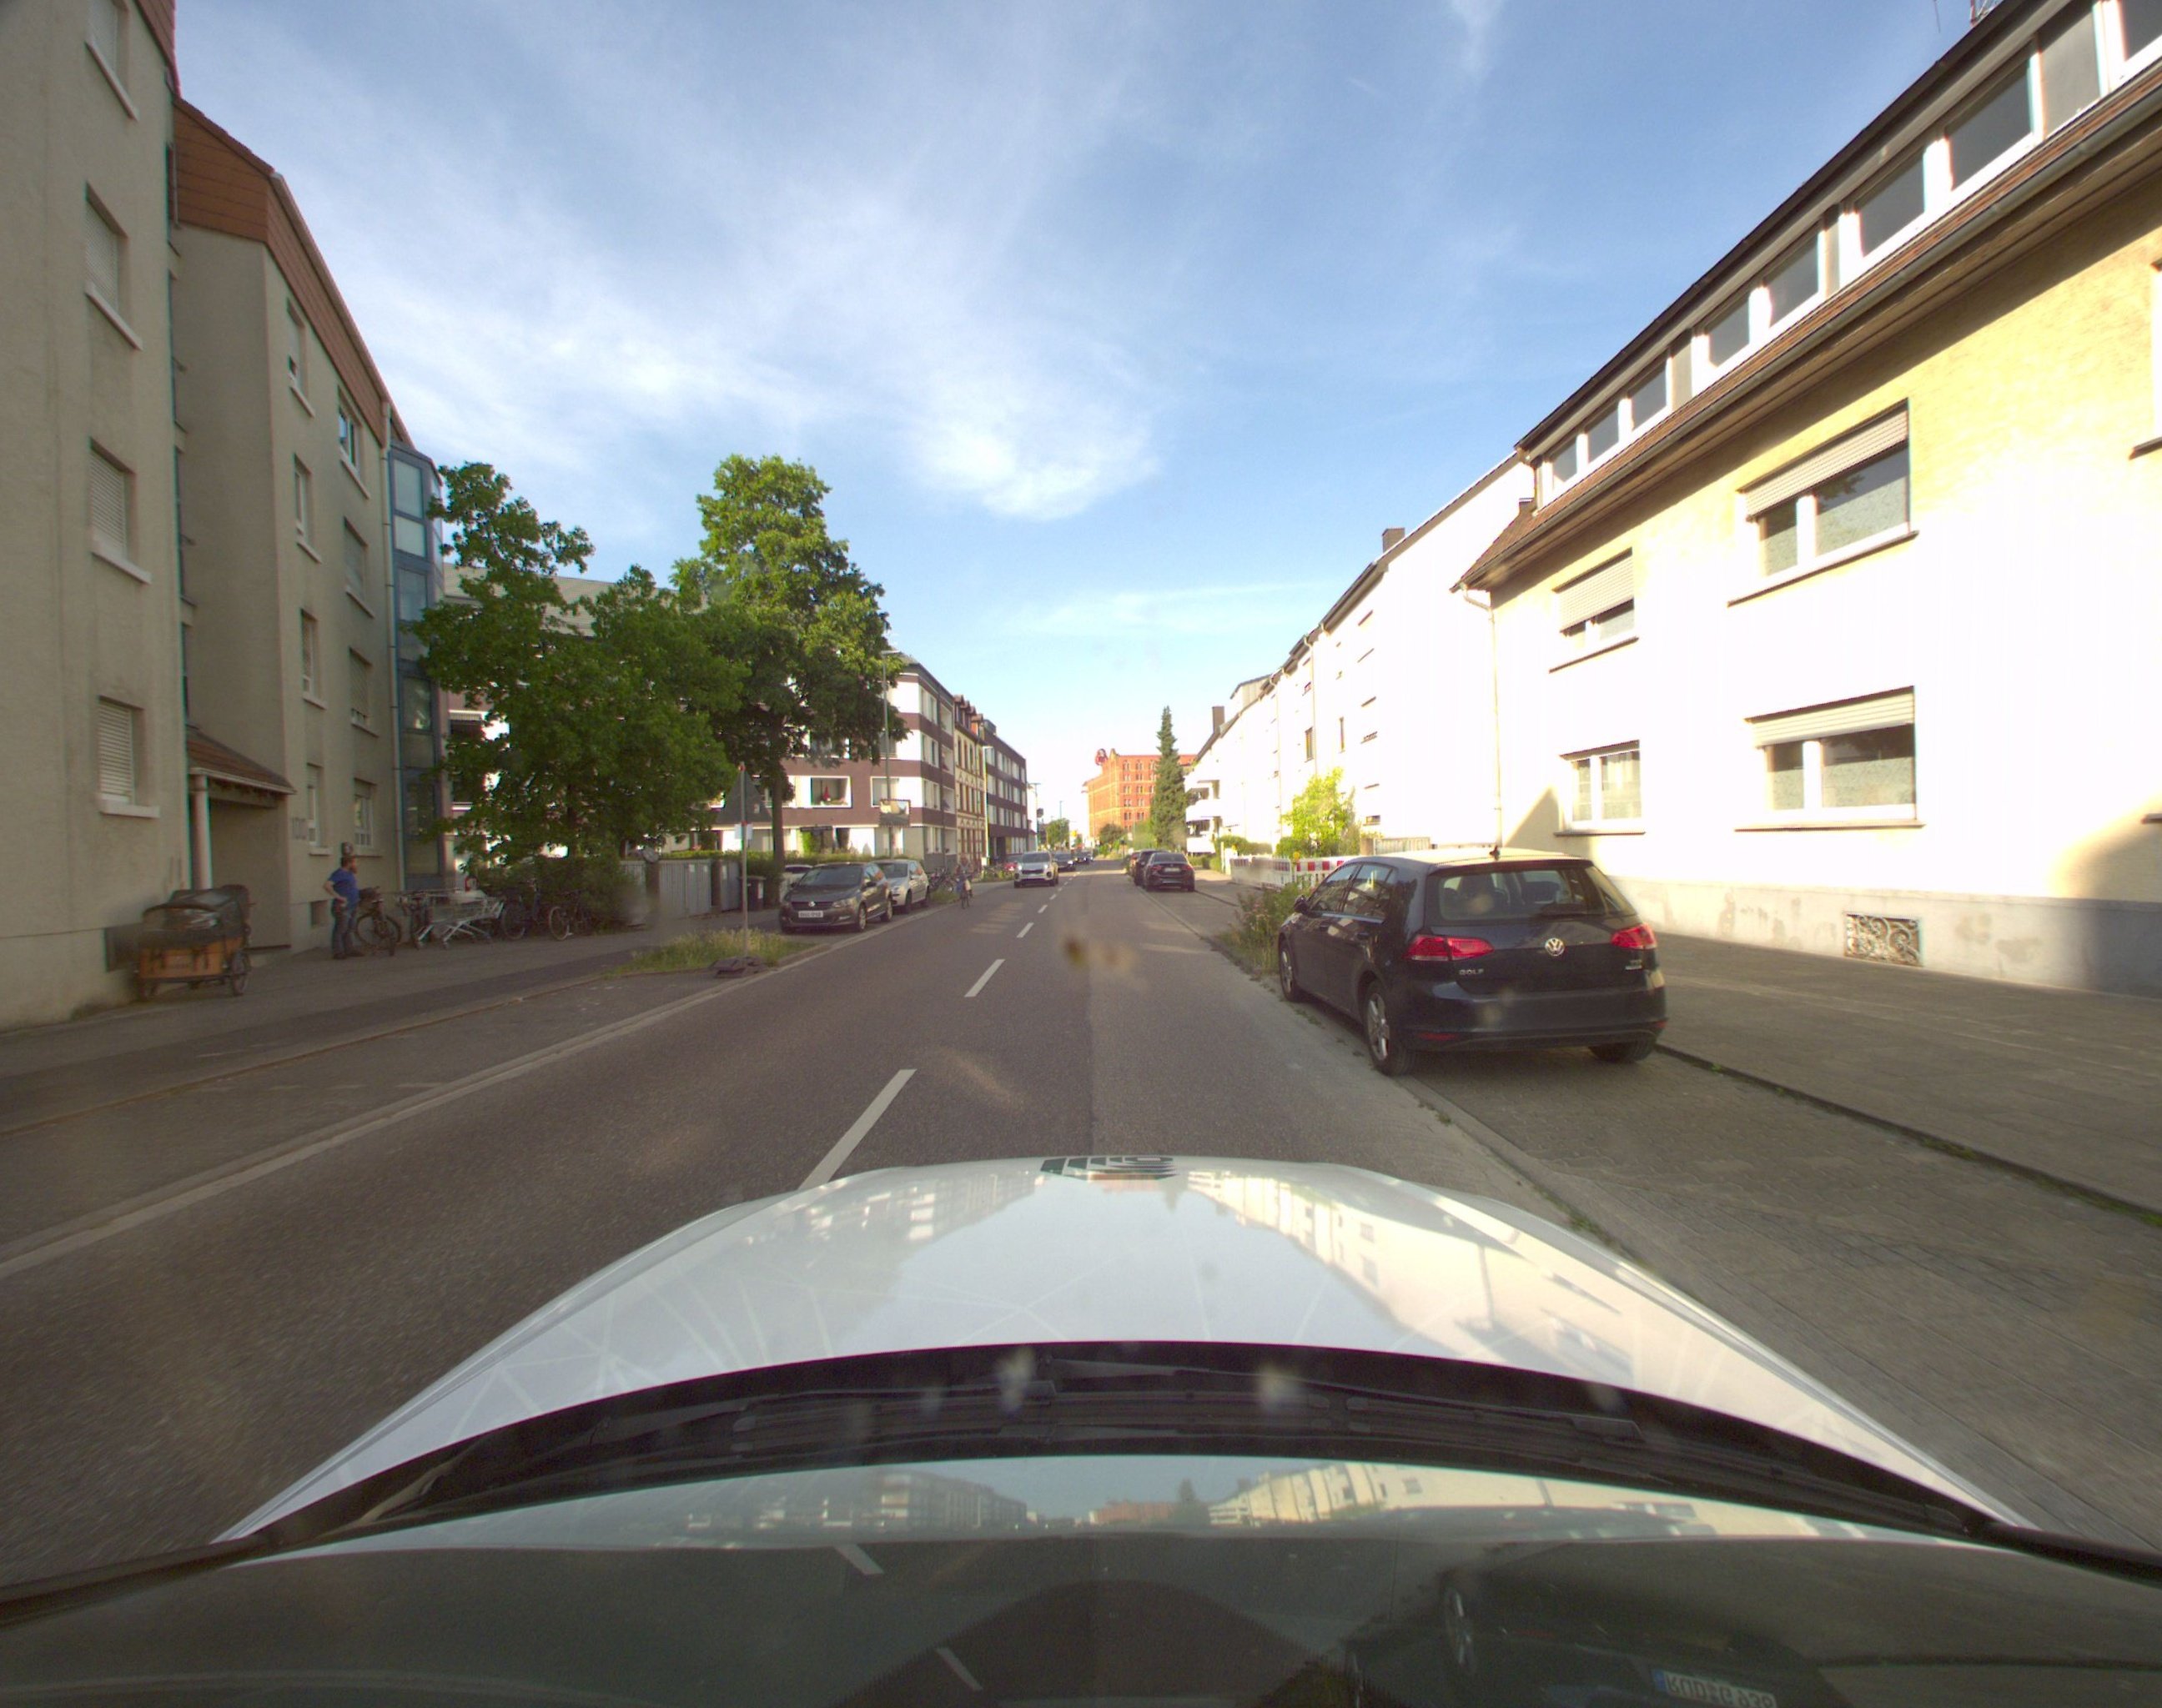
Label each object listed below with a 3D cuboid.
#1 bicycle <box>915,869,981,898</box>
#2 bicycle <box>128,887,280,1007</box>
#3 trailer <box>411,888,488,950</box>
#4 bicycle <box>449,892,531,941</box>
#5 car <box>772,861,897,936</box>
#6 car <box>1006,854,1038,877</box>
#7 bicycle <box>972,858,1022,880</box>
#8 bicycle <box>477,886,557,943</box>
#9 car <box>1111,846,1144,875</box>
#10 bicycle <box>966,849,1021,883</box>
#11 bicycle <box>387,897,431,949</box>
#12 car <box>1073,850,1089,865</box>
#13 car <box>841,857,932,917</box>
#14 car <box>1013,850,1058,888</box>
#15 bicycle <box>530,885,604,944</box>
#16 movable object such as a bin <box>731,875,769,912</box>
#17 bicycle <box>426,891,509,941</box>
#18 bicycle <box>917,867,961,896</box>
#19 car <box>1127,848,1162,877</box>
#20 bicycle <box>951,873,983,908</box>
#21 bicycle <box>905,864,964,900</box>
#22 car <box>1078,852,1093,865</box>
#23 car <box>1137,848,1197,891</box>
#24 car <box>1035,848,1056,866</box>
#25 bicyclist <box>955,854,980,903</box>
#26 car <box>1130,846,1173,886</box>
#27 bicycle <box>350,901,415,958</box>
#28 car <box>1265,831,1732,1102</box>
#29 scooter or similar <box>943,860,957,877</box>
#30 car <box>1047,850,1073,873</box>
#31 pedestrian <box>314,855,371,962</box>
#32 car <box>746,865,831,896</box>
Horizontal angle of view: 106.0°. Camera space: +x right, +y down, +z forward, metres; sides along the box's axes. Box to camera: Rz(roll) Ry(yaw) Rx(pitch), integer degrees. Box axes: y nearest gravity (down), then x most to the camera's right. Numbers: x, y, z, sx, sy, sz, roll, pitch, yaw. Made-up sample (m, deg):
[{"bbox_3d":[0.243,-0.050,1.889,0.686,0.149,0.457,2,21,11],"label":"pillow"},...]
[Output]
[{"bbox_3d":[-4.970,1.101,30.563,2.336,0.970,0.707,-2,0,-5],"label":"bicycle"},{"bbox_3d":[-10.354,1.048,9.677,0.893,1.249,1.199,-2,0,-31],"label":"bicycle"},{"bbox_3d":[-11.435,1.165,14.775,0.579,1.056,0.913,-2,0,16],"label":"trailer"},{"bbox_3d":[-11.822,1.227,16.350,0.460,0.851,1.681,-2,0,-3],"label":"bicycle"},{"bbox_3d":[-5.299,0.894,18.025,1.568,1.420,3.803,-1,0,0],"label":"car"},{"bbox_3d":[-4.008,0.737,56.050,1.834,1.464,3.585,-2,0,1],"label":"car"},{"bbox_3d":[-4.950,0.877,48.295,2.763,1.144,1.144,-2,0,1],"label":"bicycle"},{"bbox_3d":[-11.160,1.174,16.181,0.460,0.993,1.681,-2,0,-3],"label":"bicycle"},{"bbox_3d":[2.974,0.385,52.788,1.986,1.772,4.001,-2,0,1],"label":"car"},{"bbox_3d":[-4.987,0.667,46.523,2.907,1.777,1.202,-2,0,1],"label":"bicycle"},{"bbox_3d":[-12.405,1.251,15.014,1.224,0.881,0.466,-2,0,44],"label":"bicycle"},{"bbox_3d":[0.002,0.389,92.274,1.758,1.616,4.000,-3,0,0],"label":"car"},{"bbox_3d":[-5.485,0.871,23.485,1.671,1.501,3.998,-2,0,-1],"label":"car"},{"bbox_3d":[-2.090,0.648,38.046,1.758,1.616,4.000,-3,0,0],"label":"car"},{"bbox_3d":[-10.273,1.184,16.349,0.460,1.023,1.681,-2,0,-3],"label":"bicycle"},{"bbox_3d":[-9.812,1.167,24.155,0.749,1.040,0.816,1,0,1],"label":"movable object such as a bin"},{"bbox_3d":[-12.327,1.229,16.419,0.460,0.851,1.681,-2,0,-3],"label":"bicycle"},{"bbox_3d":[-5.433,1.056,31.277,1.582,1.041,0.707,-2,0,-5],"label":"bicycle"},{"bbox_3d":[3.692,0.486,48.009,1.758,1.526,4.000,-3,0,0],"label":"car"},{"bbox_3d":[-3.441,1.082,24.691,0.606,0.942,1.812,-2,0,2],"label":"bicycle"},{"bbox_3d":[-5.318,1.014,29.687,1.998,1.217,0.707,-2,0,-5],"label":"bicycle"},{"bbox_3d":[0.683,0.607,111.563,1.986,1.596,4.001,-2,0,1],"label":"car"},{"bbox_3d":[3.212,0.551,31.067,1.853,1.472,4.000,-2,0,0],"label":"car"},{"bbox_3d":[-4.014,0.333,92.271,1.986,2.013,4.001,-2,0,1],"label":"car"},{"bbox_3d":[-3.451,0.734,24.706,0.588,1.442,0.751,-2,0,1],"label":"bicyclist"},{"bbox_3d":[3.091,0.500,36.287,1.596,1.646,3.685,-2,0,0],"label":"car"},{"bbox_3d":[-12.025,1.272,14.012,1.435,0.851,0.466,0,1,34],"label":"bicycle"},{"bbox_3d":[2.842,0.638,6.646,1.823,1.482,3.944,-3,0,1],"label":"car"},{"bbox_3d":[-8.668,0.968,53.998,0.631,1.103,1.611,0,0,1],"label":"scooter or similar"},{"bbox_3d":[-1.612,0.532,62.933,1.758,1.616,4.000,-3,0,0],"label":"car"},{"bbox_3d":[-12.146,0.880,13.397,0.441,1.723,0.525,0,0,1],"label":"pedestrian"},{"bbox_3d":[-13.674,1.213,38.082,3.470,1.288,1.648,-2,0,-31],"label":"car"}]
